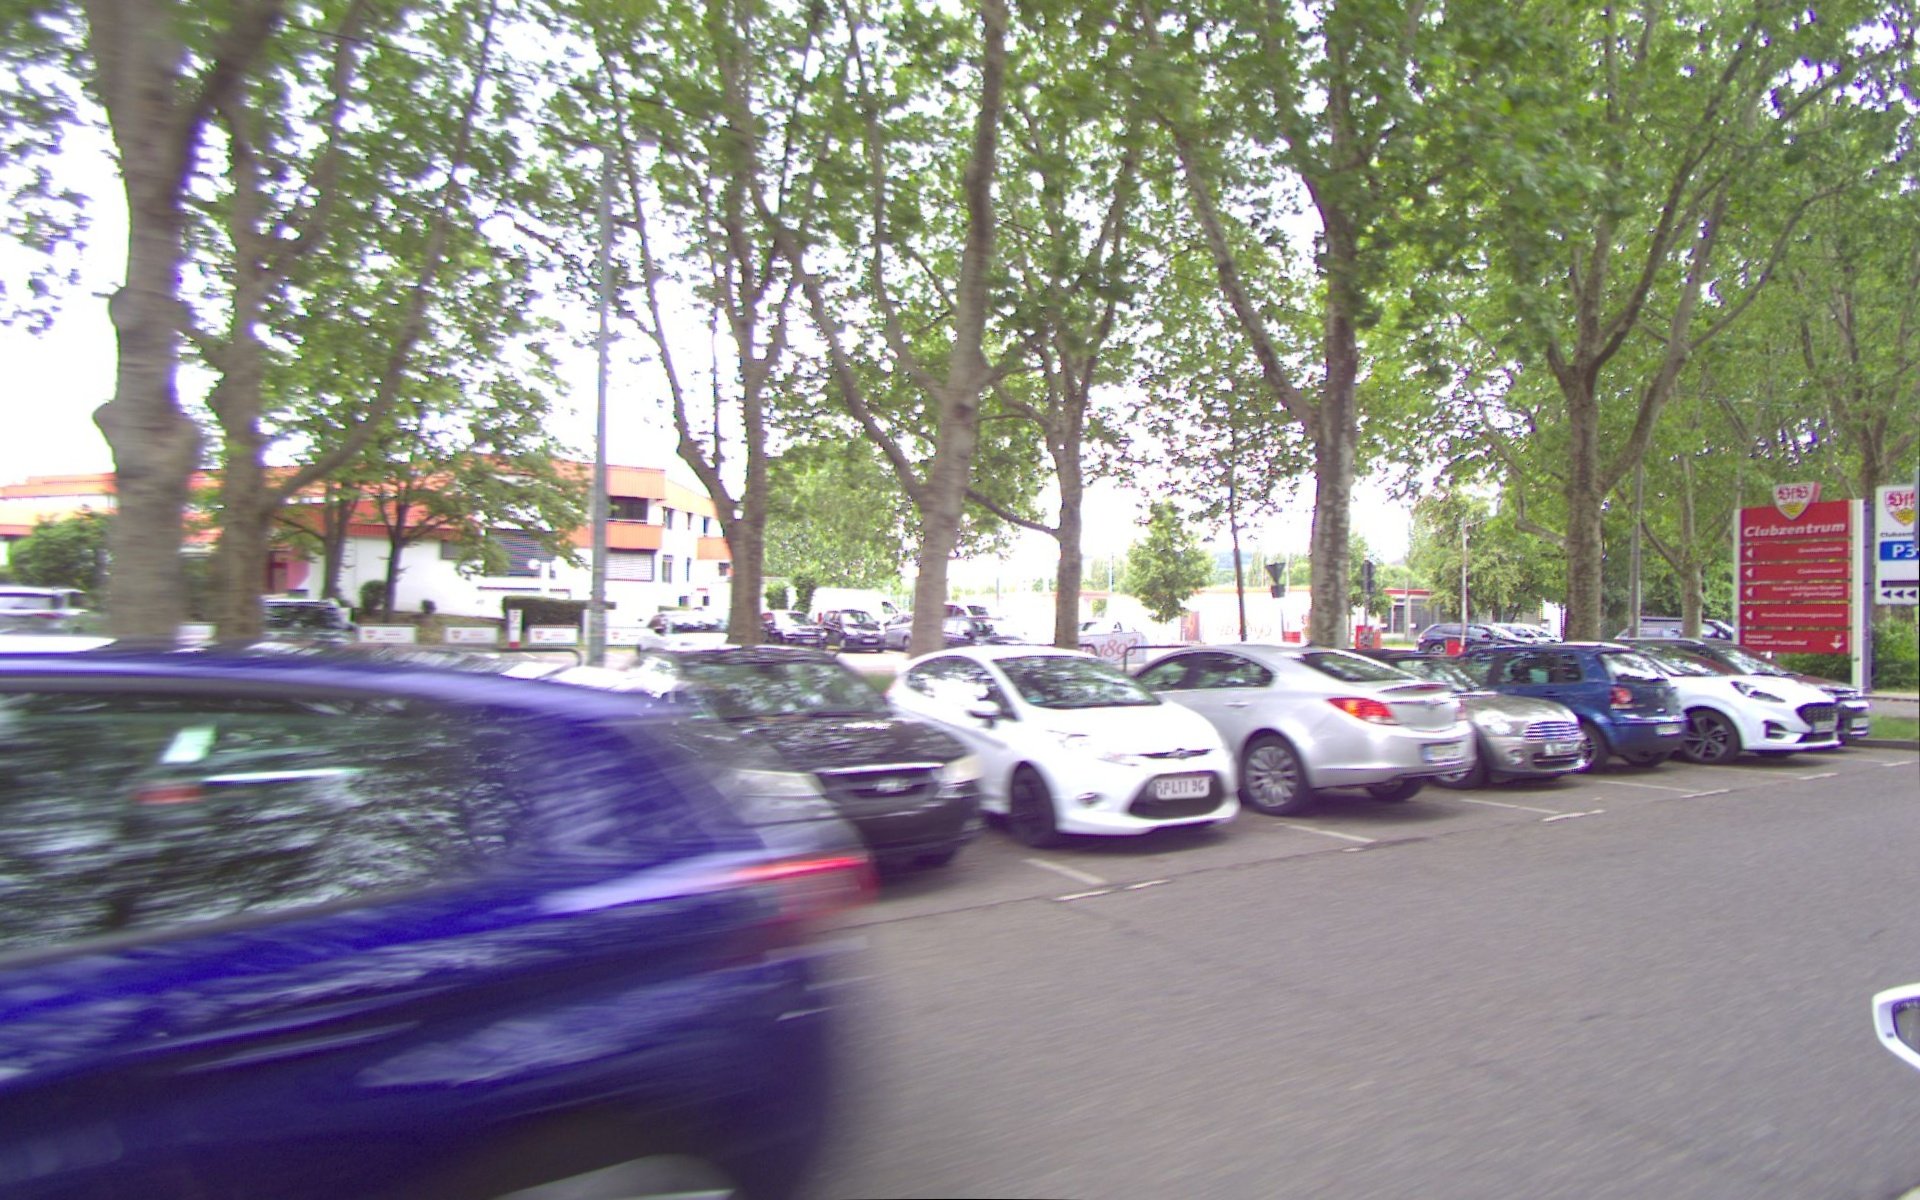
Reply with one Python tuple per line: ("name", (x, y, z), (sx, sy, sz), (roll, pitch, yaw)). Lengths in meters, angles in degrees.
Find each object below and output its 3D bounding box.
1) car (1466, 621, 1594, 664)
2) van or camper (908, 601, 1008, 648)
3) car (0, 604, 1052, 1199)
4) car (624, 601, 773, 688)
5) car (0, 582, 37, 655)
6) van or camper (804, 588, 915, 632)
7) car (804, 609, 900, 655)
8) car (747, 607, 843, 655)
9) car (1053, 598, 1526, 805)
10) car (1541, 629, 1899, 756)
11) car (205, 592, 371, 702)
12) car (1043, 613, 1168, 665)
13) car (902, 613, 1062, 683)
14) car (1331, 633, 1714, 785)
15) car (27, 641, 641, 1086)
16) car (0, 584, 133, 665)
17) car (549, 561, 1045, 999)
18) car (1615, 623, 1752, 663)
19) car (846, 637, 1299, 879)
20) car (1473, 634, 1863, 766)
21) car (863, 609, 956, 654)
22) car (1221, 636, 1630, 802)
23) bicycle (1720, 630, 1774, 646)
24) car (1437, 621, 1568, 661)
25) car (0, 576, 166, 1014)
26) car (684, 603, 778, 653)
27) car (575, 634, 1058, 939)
("car", (22.582, 1.663, 39.947), (1.978, 1.543, 3.969), (2, -1, -29))
("van or camper", (-0.150, 0.936, 39.928), (2.107, 1.732, 4.299), (2, -1, -30))
("car", (-1.970, 0.780, 1.912), (3.970, 1.530, 1.832), (2, -1, -32))
("car", (-5.958, 0.912, 22.510), (2.107, 1.732, 4.299), (2, -1, -30))
("car", (-25.577, 0.438, 25.134), (2.265, 1.880, 4.565), (2, -1, -25))
("van or camper", (-5.063, 0.523, 51.019), (5.243, 2.040, 1.983), (2, -1, -31))
("car", (-4.089, 1.163, 37.411), (1.936, 1.569, 4.299), (2, -1, -30))
("car", (-5.910, 1.058, 35.546), (1.936, 1.569, 4.299), (2, -1, -30))
("car", (2.940, 0.910, 9.941), (1.887, 1.568, 4.243), (2, -4, -31))
("car", (11.349, 1.279, 15.306), (1.782, 1.561, 3.978), (2, -1, -28))
("car", (-12.427, 0.788, 18.882), (2.270, 1.785, 4.496), (2, -1, -30))
("car", (5.023, 1.299, 34.170), (2.067, 1.572, 4.959), (1, -1, 37))
("car", (0.467, 1.164, 25.753), (2.178, 1.569, 4.299), (2, -1, -30))
("car", (7.038, 1.261, 13.004), (1.811, 1.513, 3.975), (2, -1, -30))
("car", (-3.202, 1.021, 5.685), (1.988, 1.471, 4.114), (1, -4, -28))
("car", (-23.120, 0.580, 25.373), (2.265, 1.880, 4.565), (2, -1, -25))
("car", (-1.417, 0.857, 6.577), (1.845, 1.834, 4.299), (1, -3, -29))
("car", (32.670, 1.934, 45.499), (2.082, 1.588, 4.608), (3, -1, -27))
("car", (0.691, 1.101, 8.647), (1.864, 1.423, 3.967), (2, -1, -31))
("car", (9.461, 1.245, 13.801), (1.886, 1.403, 3.980), (2, -1, -26))
("car", (-2.005, 1.175, 38.359), (1.769, 1.569, 4.196), (2, -1, -31))
("car", (5.115, 1.202, 11.592), (1.840, 1.424, 3.968), (2, -1, -30))
("bicycle", (59.832, 2.885, 76.393), (0.768, 1.112, 3.150), (2, 0, -44))
("car", (20.511, 1.520, 38.123), (1.978, 1.341, 3.968), (2, -1, -30))
("car", (-5.320, 0.783, 4.537), (2.012, 1.819, 4.298), (2, -1, -29))
("car", (-7.917, 0.921, 34.437), (1.936, 1.569, 4.299), (2, -1, -30))
("car", (-1.335, 1.005, 7.254), (1.945, 1.372, 4.166), (2, -1, -32))
